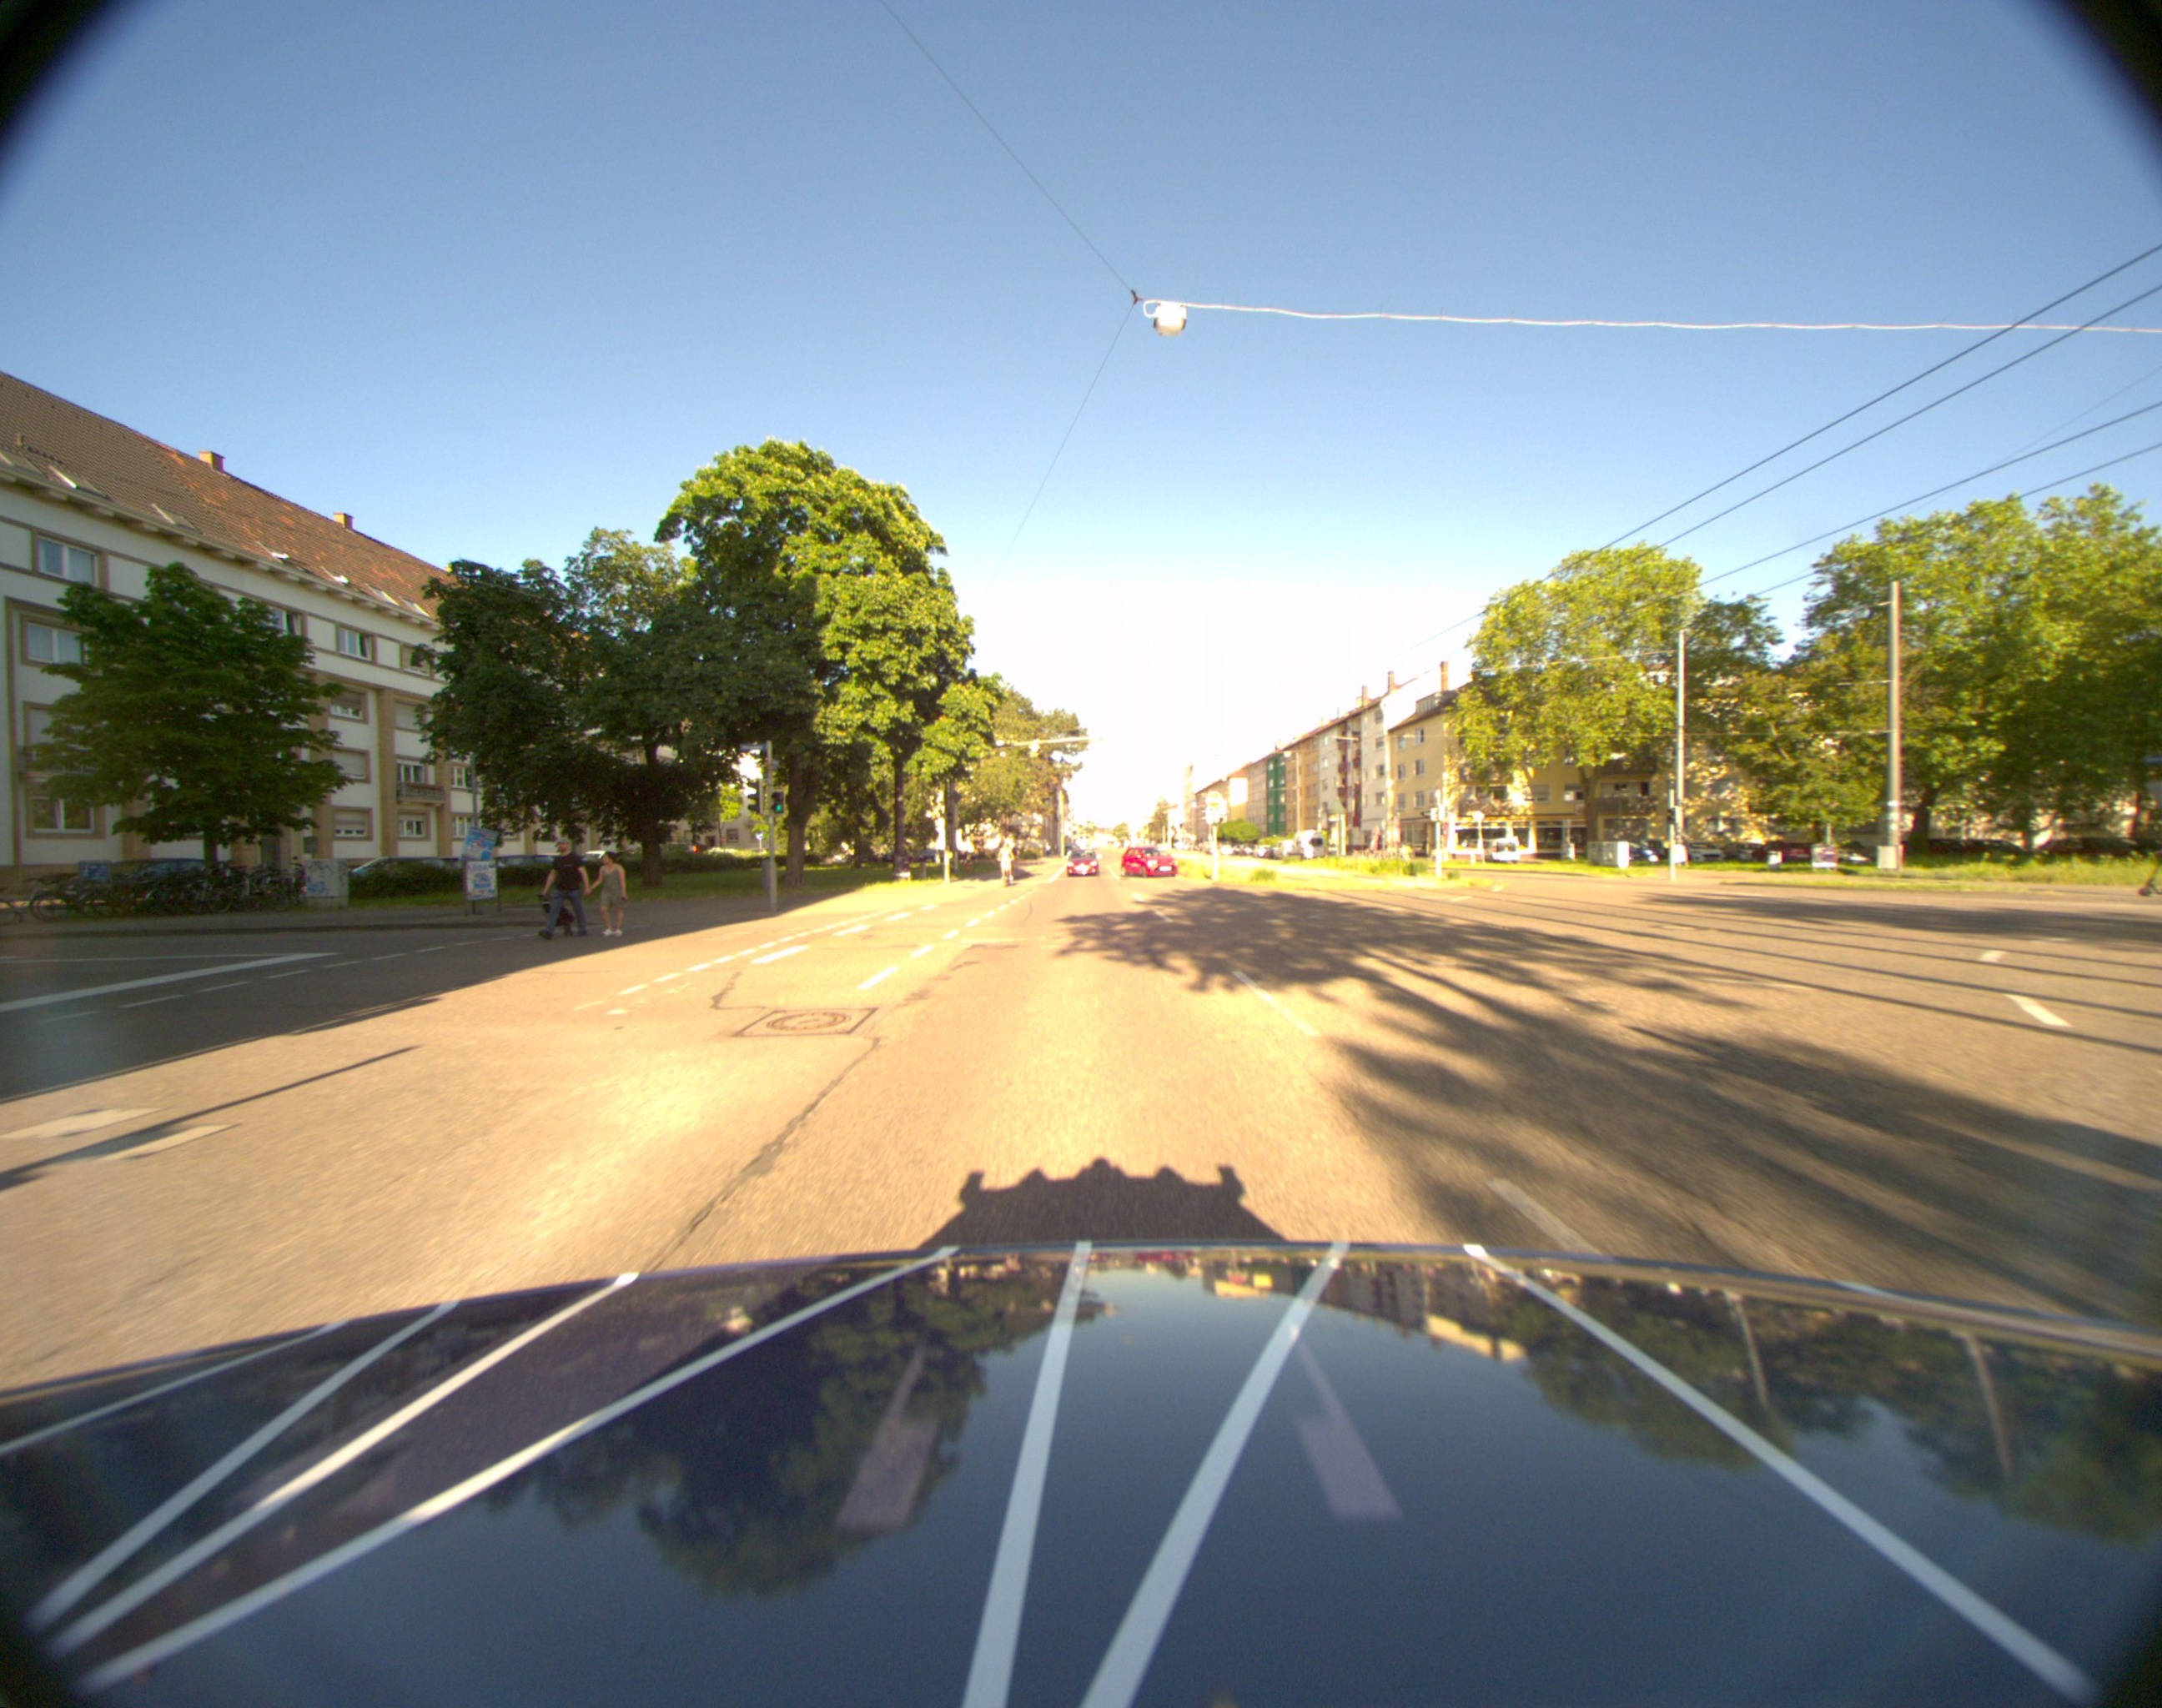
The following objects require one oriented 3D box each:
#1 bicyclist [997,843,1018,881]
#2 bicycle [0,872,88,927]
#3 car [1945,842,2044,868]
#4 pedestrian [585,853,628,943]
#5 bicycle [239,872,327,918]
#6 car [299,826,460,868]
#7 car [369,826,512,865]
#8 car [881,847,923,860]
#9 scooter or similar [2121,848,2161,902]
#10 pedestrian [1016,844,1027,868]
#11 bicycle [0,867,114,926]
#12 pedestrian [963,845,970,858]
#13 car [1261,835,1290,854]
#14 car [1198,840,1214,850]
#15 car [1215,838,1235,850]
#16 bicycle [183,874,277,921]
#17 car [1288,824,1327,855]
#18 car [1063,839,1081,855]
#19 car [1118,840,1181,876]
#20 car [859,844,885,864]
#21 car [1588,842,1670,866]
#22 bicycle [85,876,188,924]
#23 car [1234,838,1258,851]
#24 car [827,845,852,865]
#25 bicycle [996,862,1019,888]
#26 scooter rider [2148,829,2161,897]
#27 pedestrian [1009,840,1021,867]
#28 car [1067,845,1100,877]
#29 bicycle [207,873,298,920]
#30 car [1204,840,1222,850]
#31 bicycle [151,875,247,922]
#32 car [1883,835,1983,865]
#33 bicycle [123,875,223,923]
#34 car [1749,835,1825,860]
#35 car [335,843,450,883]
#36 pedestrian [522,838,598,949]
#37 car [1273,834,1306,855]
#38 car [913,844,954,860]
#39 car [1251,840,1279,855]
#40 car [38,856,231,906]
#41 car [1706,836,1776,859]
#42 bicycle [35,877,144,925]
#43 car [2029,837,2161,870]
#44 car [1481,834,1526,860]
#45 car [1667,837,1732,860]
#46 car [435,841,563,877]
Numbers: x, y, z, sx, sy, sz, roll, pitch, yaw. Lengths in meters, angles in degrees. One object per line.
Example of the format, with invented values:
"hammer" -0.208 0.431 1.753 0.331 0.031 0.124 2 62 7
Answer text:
"bicyclist" -2.870 0.292 29.666 0.678 1.466 0.936 -1 2 0
"bicycle" -26.637 1.141 19.281 0.433 1.278 1.828 -1 1 -1
"car" 57.966 0.030 48.336 1.996 1.543 3.937 -1 1 12
"pedestrian" -8.350 0.760 13.396 0.505 1.538 0.518 0 2 -16
"bicycle" -20.930 1.058 19.975 0.365 1.088 1.828 -1 1 -1
"car" -25.446 -0.270 27.657 3.996 1.440 2.000 -1 1 2
"car" -25.427 -0.337 30.283 3.996 1.440 2.000 -1 1 2
"car" -15.591 -0.050 66.447 1.997 1.060 4.280 -1 1 10
"scooter or similar" 27.017 0.522 18.727 0.598 1.302 1.540 -1 1 -4
"pedestrian" -3.755 0.127 47.838 0.596 1.518 0.633 -1 1 -10
"bicycle" -25.999 1.042 19.335 0.433 1.379 1.828 -1 1 -1
"pedestrian" -10.003 -0.209 66.434 0.459 1.072 0.613 -1 2 0
"car" 21.807 -1.122 85.370 2.144 2.023 4.864 -1 1 1
"car" 22.509 -1.651 136.713 2.144 1.697 5.401 -1 1 1
"car" 22.078 -1.580 116.584 2.144 1.697 5.445 -1 1 1
"bicycle" -22.072 1.098 19.751 0.365 1.088 1.828 -1 1 -1
"car" 21.525 -1.360 72.310 2.230 2.809 5.228 -1 1 1
"car" -1.042 -0.853 92.246 1.998 1.806 3.999 -2 1 0
"car" 3.175 0.163 35.739 1.545 1.522 3.596 -3 2 -20
"car" -18.757 0.006 68.278 2.001 1.689 4.271 -1 1 -12
"car" 35.179 -0.021 48.892 3.990 1.430 1.720 0 2 24
"bicycle" -24.233 1.152 19.550 0.365 1.088 1.828 -1 1 -1
"car" 21.882 -1.277 101.059 2.144 1.697 5.445 -1 1 1
"car" -22.057 0.078 69.412 2.001 1.689 4.270 -1 1 -16
"bicycle" -2.858 0.796 29.696 0.684 0.925 1.735 -1 1 0
"scooter rider" 27.002 0.221 18.726 0.596 1.686 0.573 -1 2 -5
"pedestrian" -4.209 -0.019 48.439 0.567 1.688 0.595 -1 2 -17
"car" 0.191 0.303 40.163 1.619 1.537 4.277 -1 1 2
"bicycle" -21.588 1.081 19.853 0.365 1.088 1.828 -1 1 -1
"car" 22.517 -1.554 129.647 2.144 1.697 5.401 -1 1 1
"bicycle" -22.790 1.122 19.684 0.365 1.088 1.828 -1 1 -1
"car" 50.423 -0.250 45.080 1.996 1.695 3.937 -1 1 12
"bicycle" -23.378 1.139 19.613 0.365 1.088 1.828 -1 1 -1
"car" 40.087 -0.398 43.260 1.641 1.300 4.004 0 2 18
"car" -33.800 0.390 37.464 1.999 1.833 3.999 -1 1 -1
"pedestrian" -8.998 0.645 13.169 0.790 1.818 1.032 0 2 -16
"car" 21.757 -1.008 79.473 2.144 2.023 5.156 -1 1 1
"car" -12.754 -0.178 65.946 1.997 1.316 4.280 -1 1 10
"car" 22.006 -0.846 91.081 2.144 1.697 5.156 -1 1 1
"car" -33.666 0.893 27.233 1.846 1.560 3.999 -1 1 -1
"car" 45.946 -0.461 52.992 1.996 1.543 3.937 -1 1 12
"bicycle" -25.247 1.164 19.398 0.365 1.088 1.828 -1 1 -1
"car" 51.985 -0.063 39.087 1.996 1.543 3.937 -1 1 12
"car" 32.157 -0.566 57.926 1.909 1.871 4.003 0 1 12
"car" 43.700 -0.411 53.781 1.996 1.543 3.937 -1 1 12
"car" -25.081 0.194 32.859 3.996 1.440 2.000 -1 1 2
